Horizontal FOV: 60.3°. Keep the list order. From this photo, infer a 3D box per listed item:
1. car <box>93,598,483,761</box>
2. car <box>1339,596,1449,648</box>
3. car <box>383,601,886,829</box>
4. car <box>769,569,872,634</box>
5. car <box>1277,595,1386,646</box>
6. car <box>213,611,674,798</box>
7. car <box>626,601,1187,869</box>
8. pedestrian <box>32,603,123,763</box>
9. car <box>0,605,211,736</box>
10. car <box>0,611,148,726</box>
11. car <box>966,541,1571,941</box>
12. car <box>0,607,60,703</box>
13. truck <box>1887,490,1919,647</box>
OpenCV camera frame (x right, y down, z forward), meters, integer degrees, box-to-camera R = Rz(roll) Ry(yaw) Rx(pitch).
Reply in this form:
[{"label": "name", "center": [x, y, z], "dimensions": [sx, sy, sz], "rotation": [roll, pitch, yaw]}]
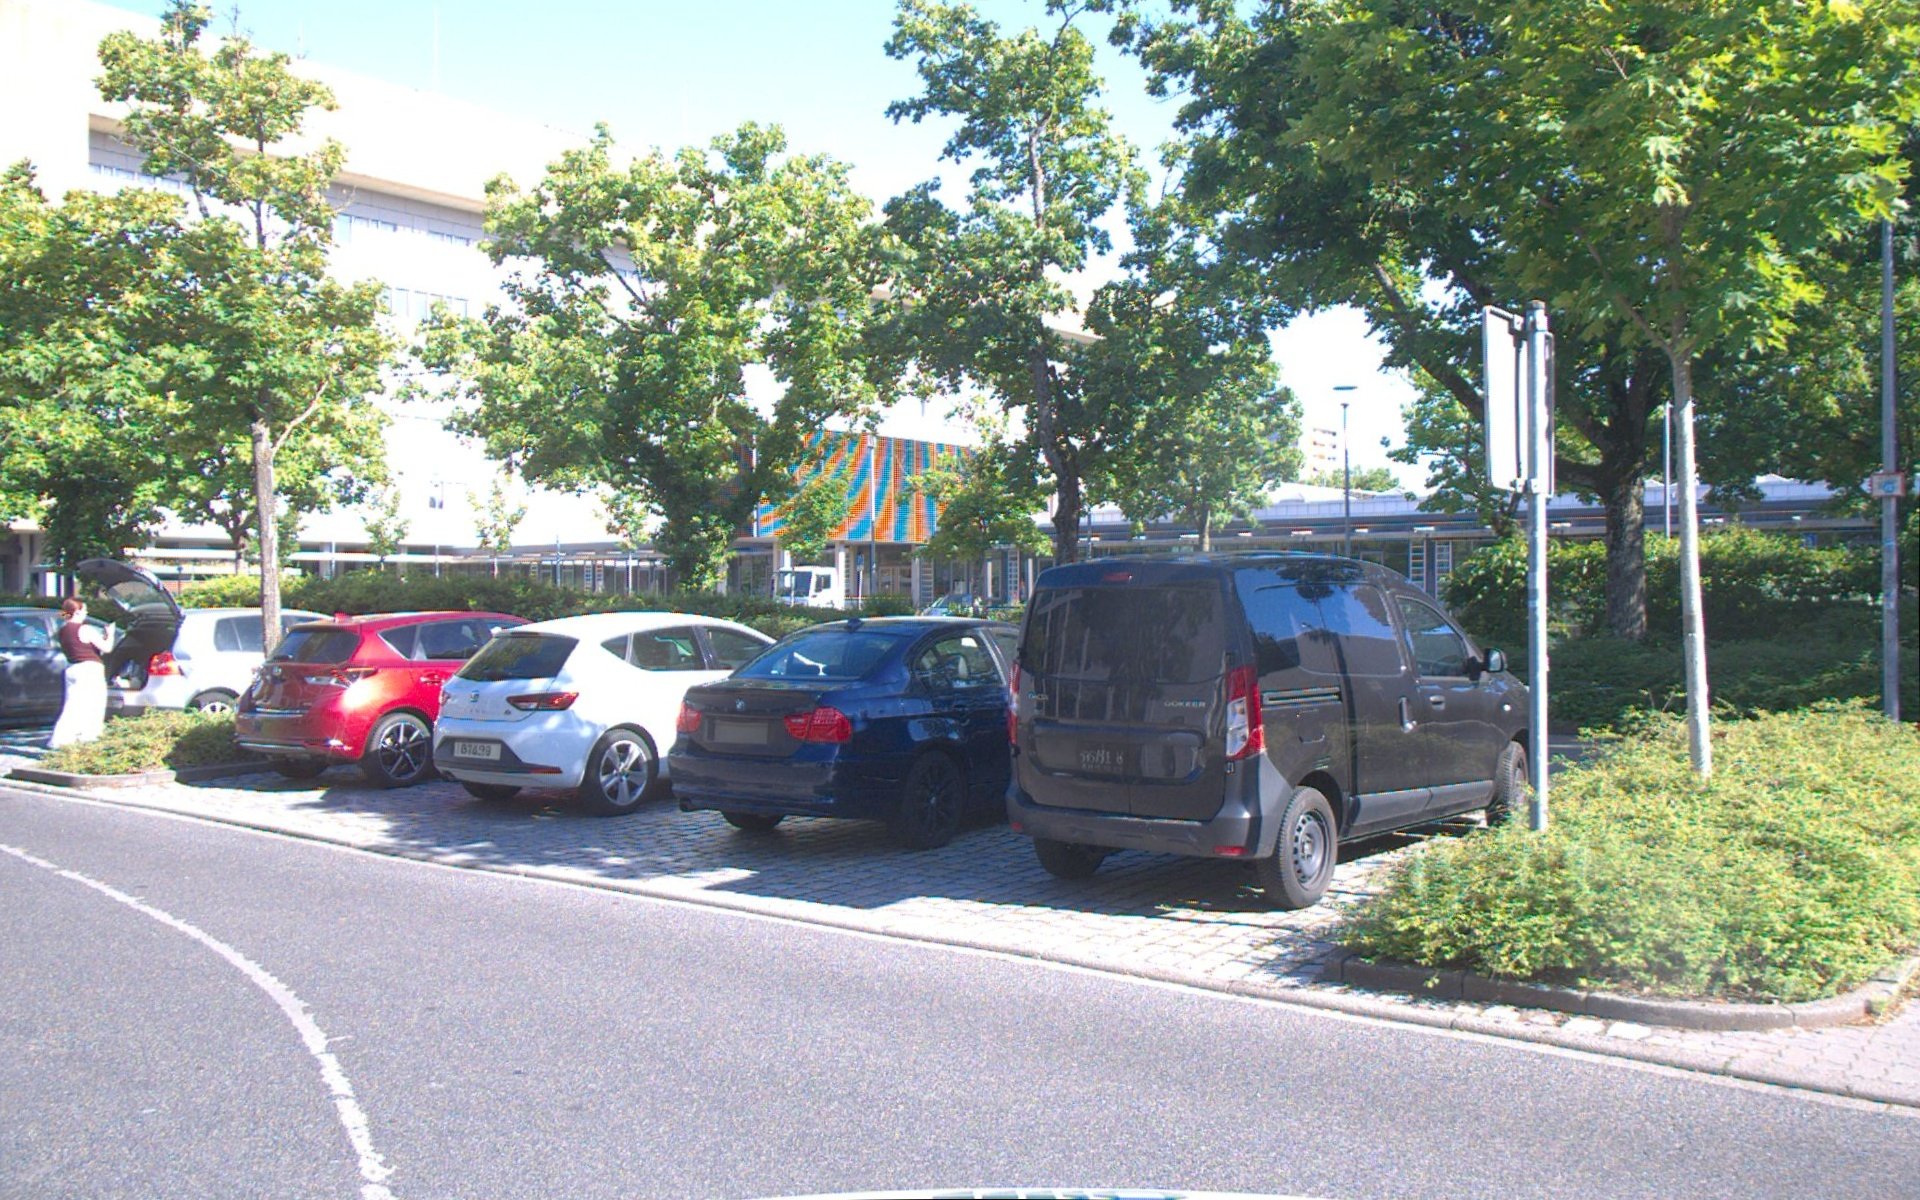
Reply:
[{"label": "car", "center": [-7.598, 0.811, 19.006], "dimensions": [1.647, 1.605, 3.896], "rotation": [1, 1, 37]}, {"label": "car", "center": [13.574, 0.663, 51.636], "dimensions": [1.809, 1.524, 3.886], "rotation": [0, 1, 41]}, {"label": "car", "center": [-2.531, 0.807, 13.656], "dimensions": [1.773, 1.461, 3.896], "rotation": [0, 2, 37]}, {"label": "car", "center": [-5.604, 0.054, 66.616], "dimensions": [2.192, 2.534, 3.625], "rotation": [0, 1, 41]}, {"label": "car", "center": [11.912, 0.630, 52.900], "dimensions": [1.809, 1.524, 3.886], "rotation": [0, 1, 41]}, {"label": "car", "center": [-4.678, 0.874, 15.445], "dimensions": [1.640, 1.451, 3.896], "rotation": [-1, 0, 37]}, {"label": "car", "center": [-0.193, 0.792, 11.796], "dimensions": [1.793, 1.430, 4.151], "rotation": [-1, 1, 37]}, {"label": "pedestrian", "center": [-9.142, 0.841, 17.152], "dimensions": [0.754, 1.607, 0.669], "rotation": [0, 0, -23]}, {"label": "car", "center": [-12.042, 0.879, 21.155], "dimensions": [1.702, 1.546, 4.182], "rotation": [0, 1, 37]}, {"label": "car", "center": [-13.638, 0.950, 23.042], "dimensions": [1.590, 1.493, 3.896], "rotation": [1, 1, 37]}, {"label": "car", "center": [2.055, 0.612, 9.994], "dimensions": [1.844, 1.879, 4.148], "rotation": [-1, 1, 39]}, {"label": "car", "center": [-16.643, 0.901, 26.145], "dimensions": [1.808, 1.524, 3.887], "rotation": [0, 1, 40]}, {"label": "truck", "center": [26.400, -0.806, 42.958], "dimensions": [2.760, 3.873, 6.886], "rotation": [1, 1, 41]}]
